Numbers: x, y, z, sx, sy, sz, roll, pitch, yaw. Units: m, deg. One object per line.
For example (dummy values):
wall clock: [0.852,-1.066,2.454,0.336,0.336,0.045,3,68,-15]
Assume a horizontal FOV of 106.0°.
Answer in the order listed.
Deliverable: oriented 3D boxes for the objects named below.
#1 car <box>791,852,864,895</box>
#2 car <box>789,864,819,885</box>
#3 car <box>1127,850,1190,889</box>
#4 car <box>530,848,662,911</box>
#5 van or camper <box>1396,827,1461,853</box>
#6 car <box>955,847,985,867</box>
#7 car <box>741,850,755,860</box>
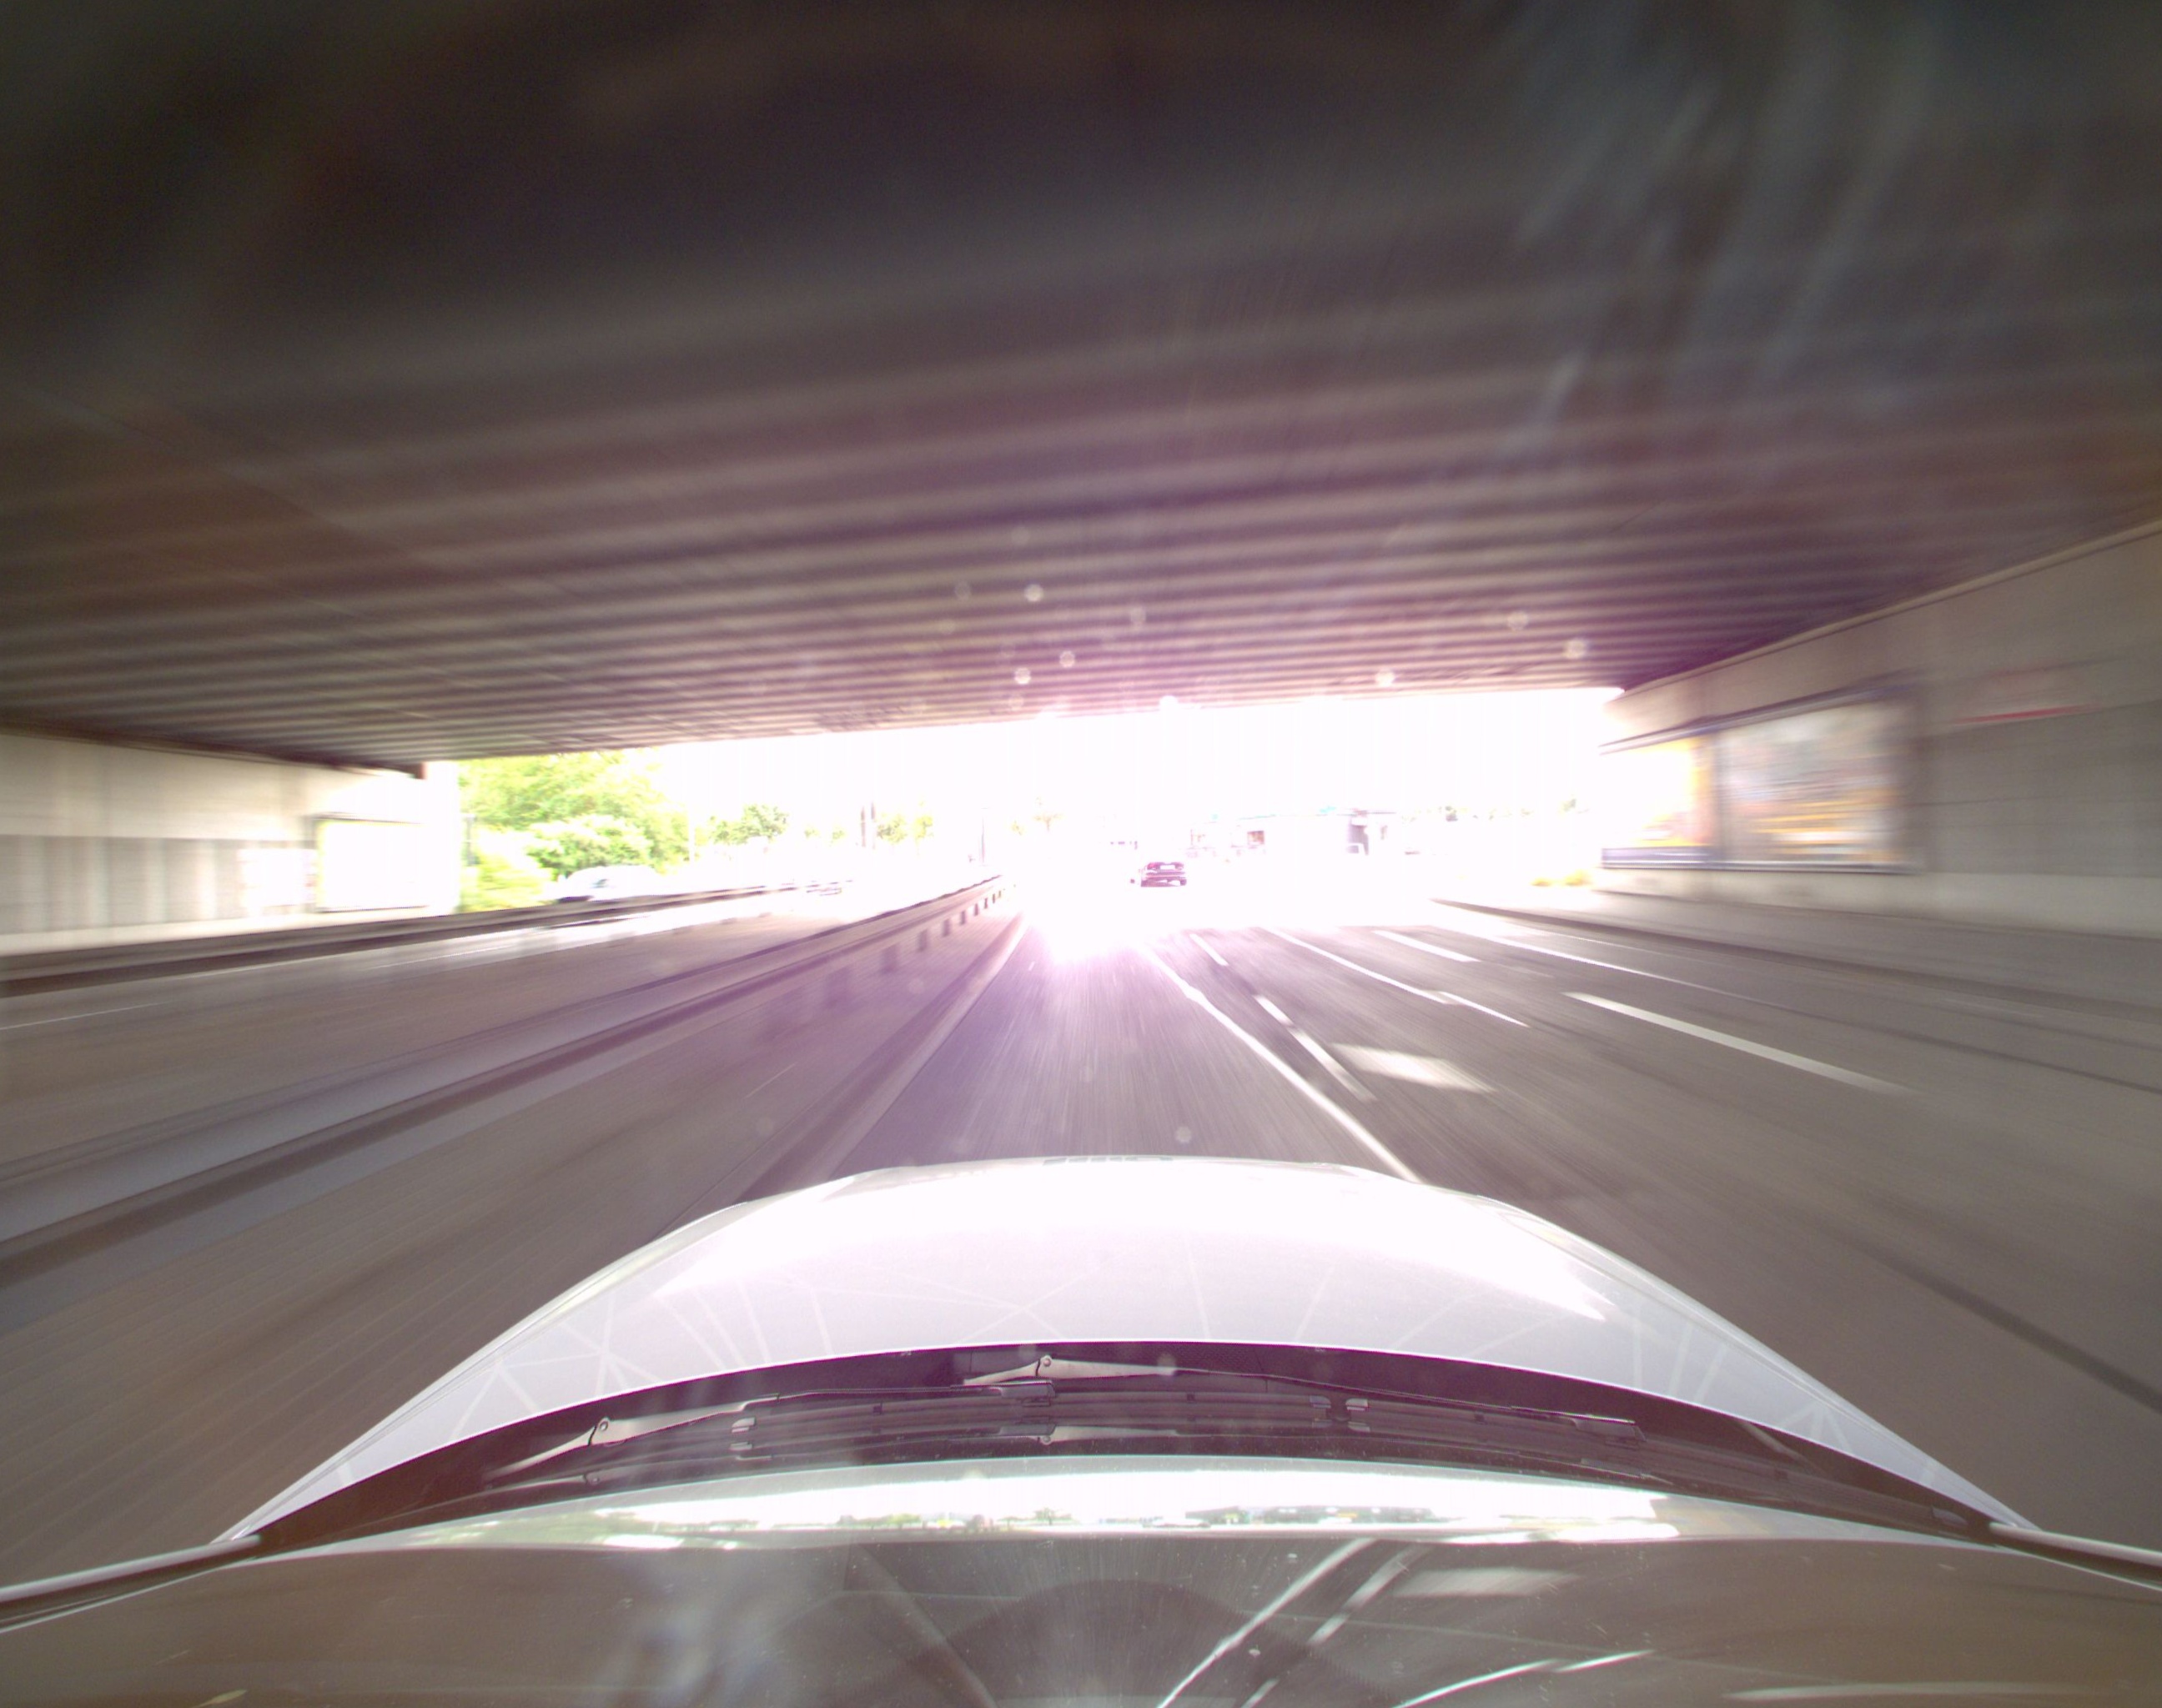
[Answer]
car: [-10.978,0.805,35.606,1.989,1.675,4.317,-2,0,-3]
car: [-22.405,1.650,65.979,1.753,1.510,3.984,-2,0,-12]
car: [2.928,0.543,31.739,1.987,1.390,4.575,-1,0,0]
car: [-17.308,0.862,29.349,1.986,2.013,4.339,-2,0,2]
van or camper: [30.380,-1.177,71.073,6.272,2.173,2.104,0,-1,-34]
car: [-12.162,0.362,88.784,2.002,2.037,4.676,-2,-1,-23]
car: [-55.510,0.219,135.685,2.003,1.532,4.297,-4,1,-24]
